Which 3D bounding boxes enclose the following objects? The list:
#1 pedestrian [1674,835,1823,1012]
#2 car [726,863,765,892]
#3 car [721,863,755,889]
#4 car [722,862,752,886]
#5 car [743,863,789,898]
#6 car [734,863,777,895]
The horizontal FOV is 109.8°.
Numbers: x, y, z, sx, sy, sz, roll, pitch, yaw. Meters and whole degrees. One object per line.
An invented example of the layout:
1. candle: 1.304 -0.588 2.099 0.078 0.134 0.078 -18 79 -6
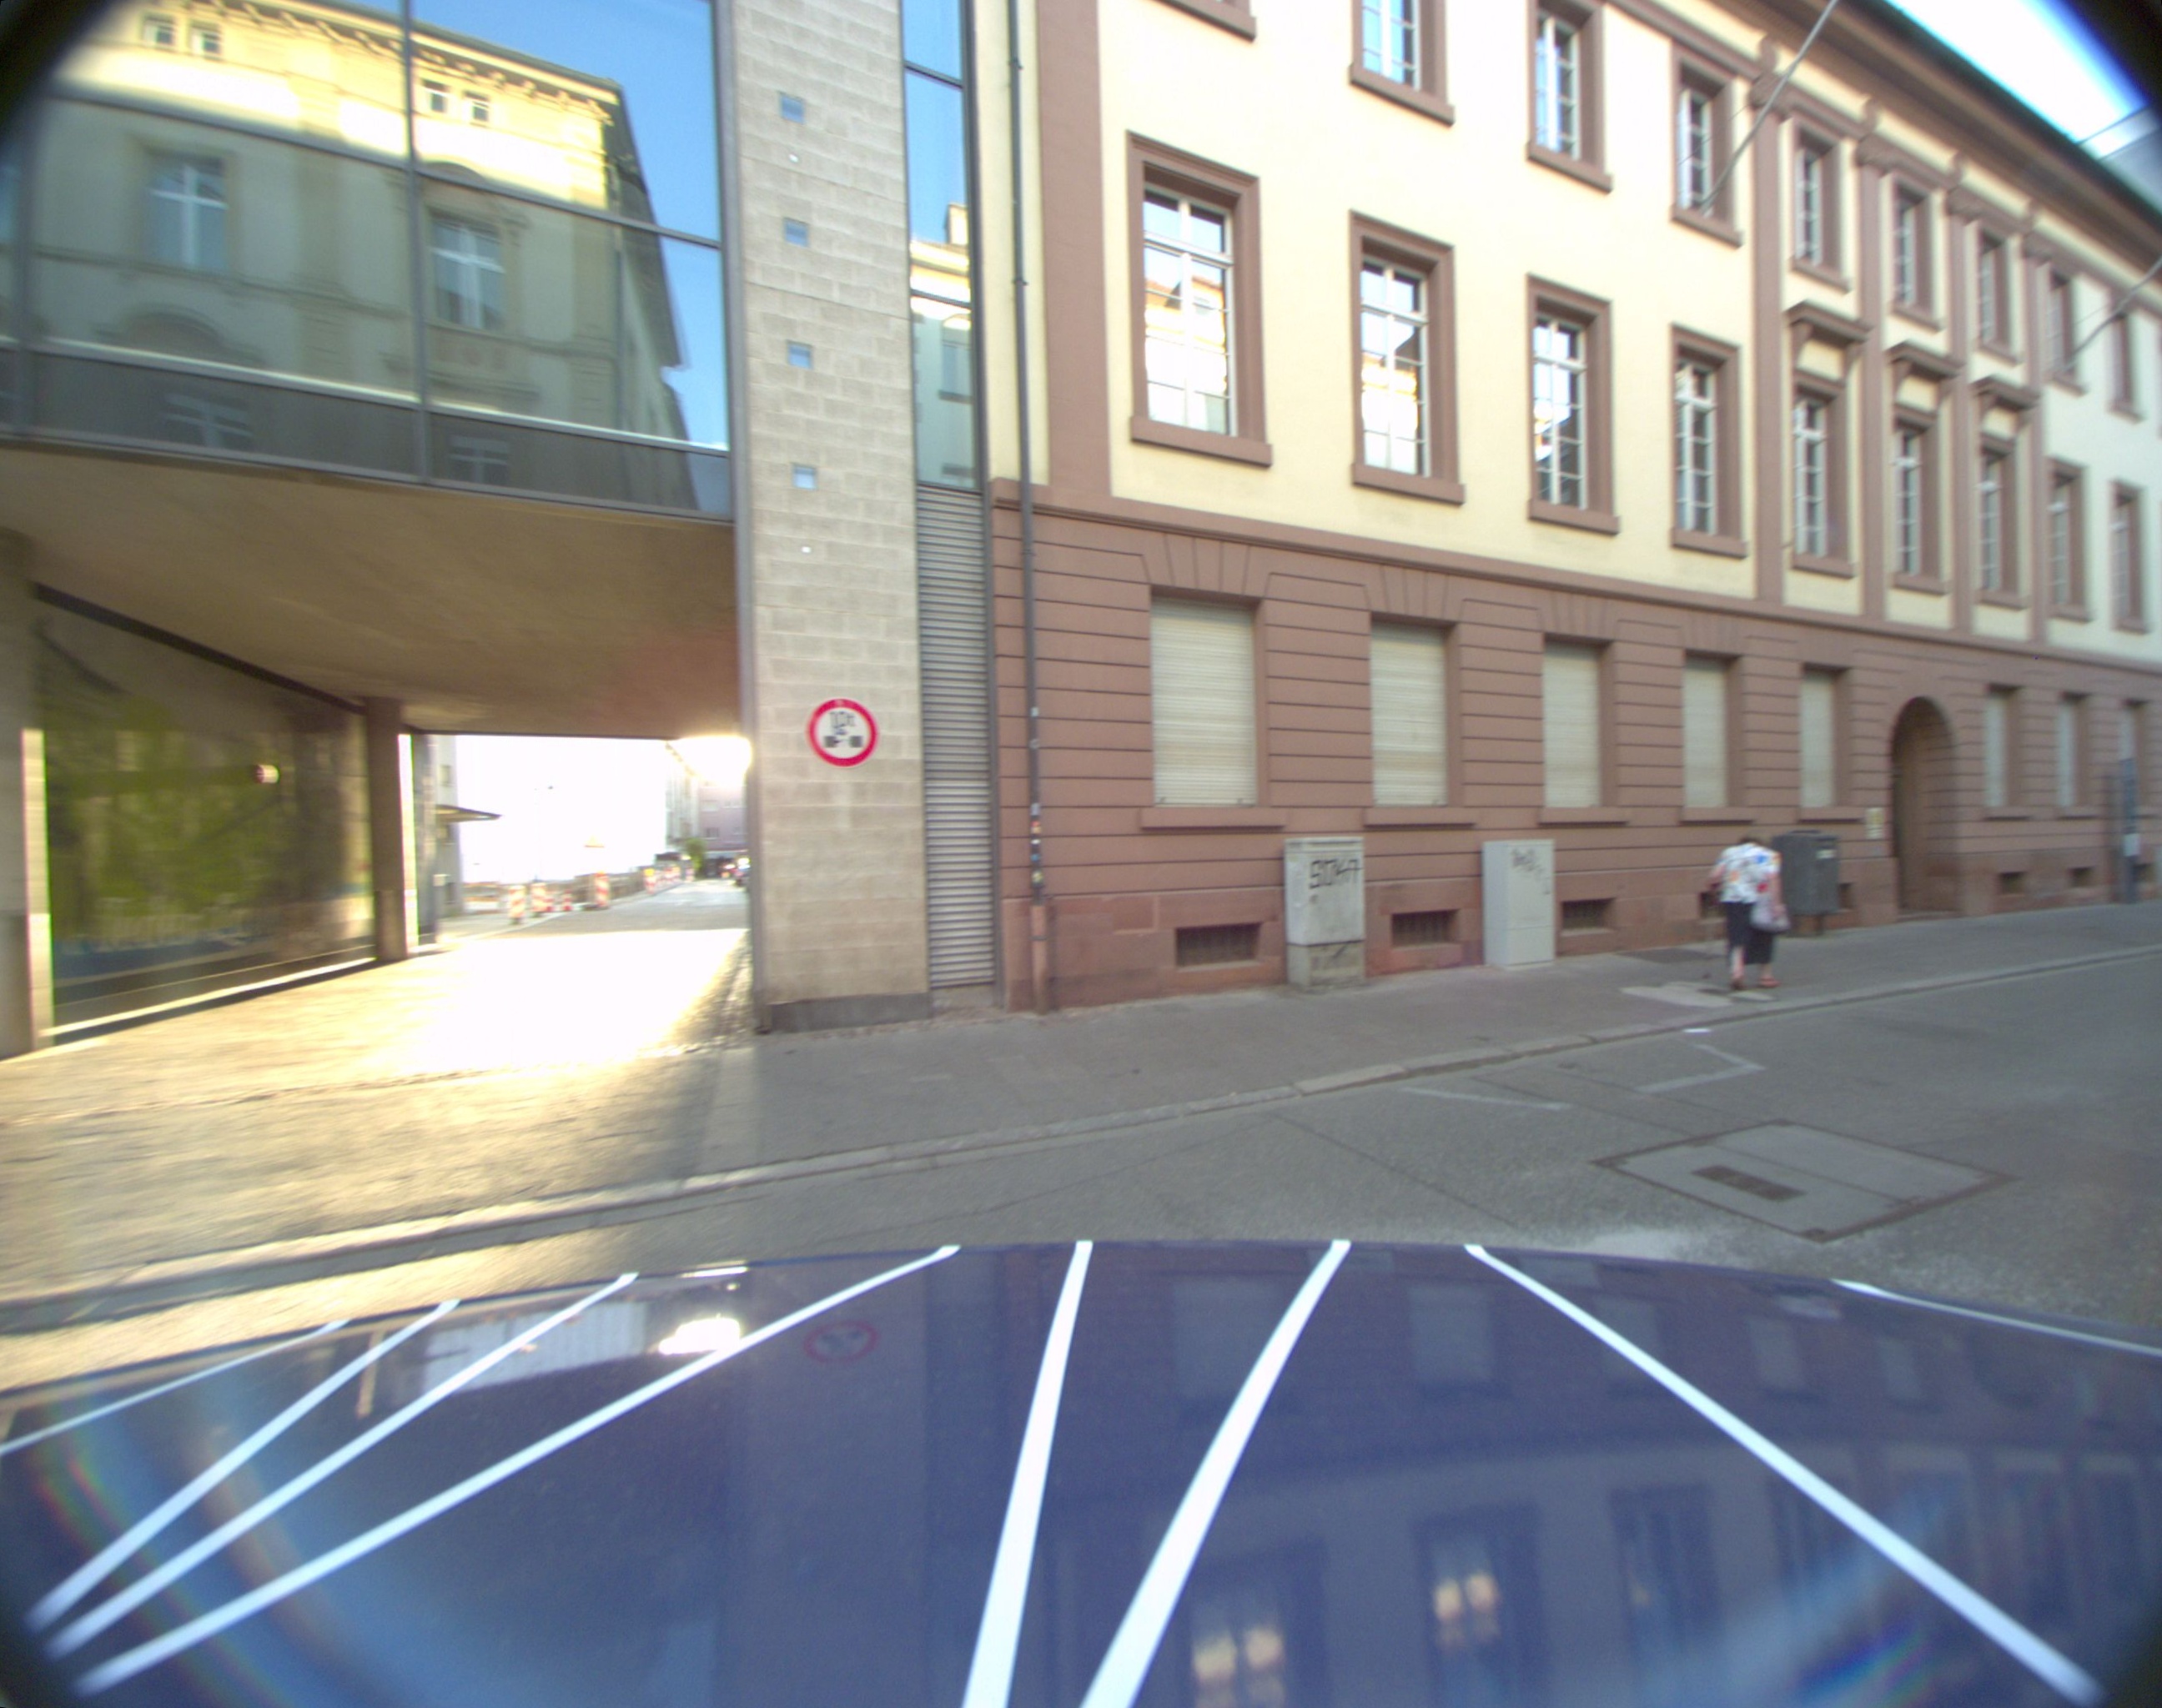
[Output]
1. pedestrian: 6.734 0.646 7.688 0.932 1.661 0.810 -1 1 -23
2. car: -18.774 1.292 42.450 1.604 1.484 3.437 -2 1 -29
3. car: -21.533 1.344 47.645 1.604 1.484 3.437 -2 1 -29
4. car: -23.630 1.357 52.134 1.604 1.484 3.437 -2 1 -29
5. car: -14.829 1.215 35.680 1.604 1.484 3.437 -2 1 -29
6. car: -16.721 1.234 38.964 1.604 1.484 3.437 -2 1 -29
